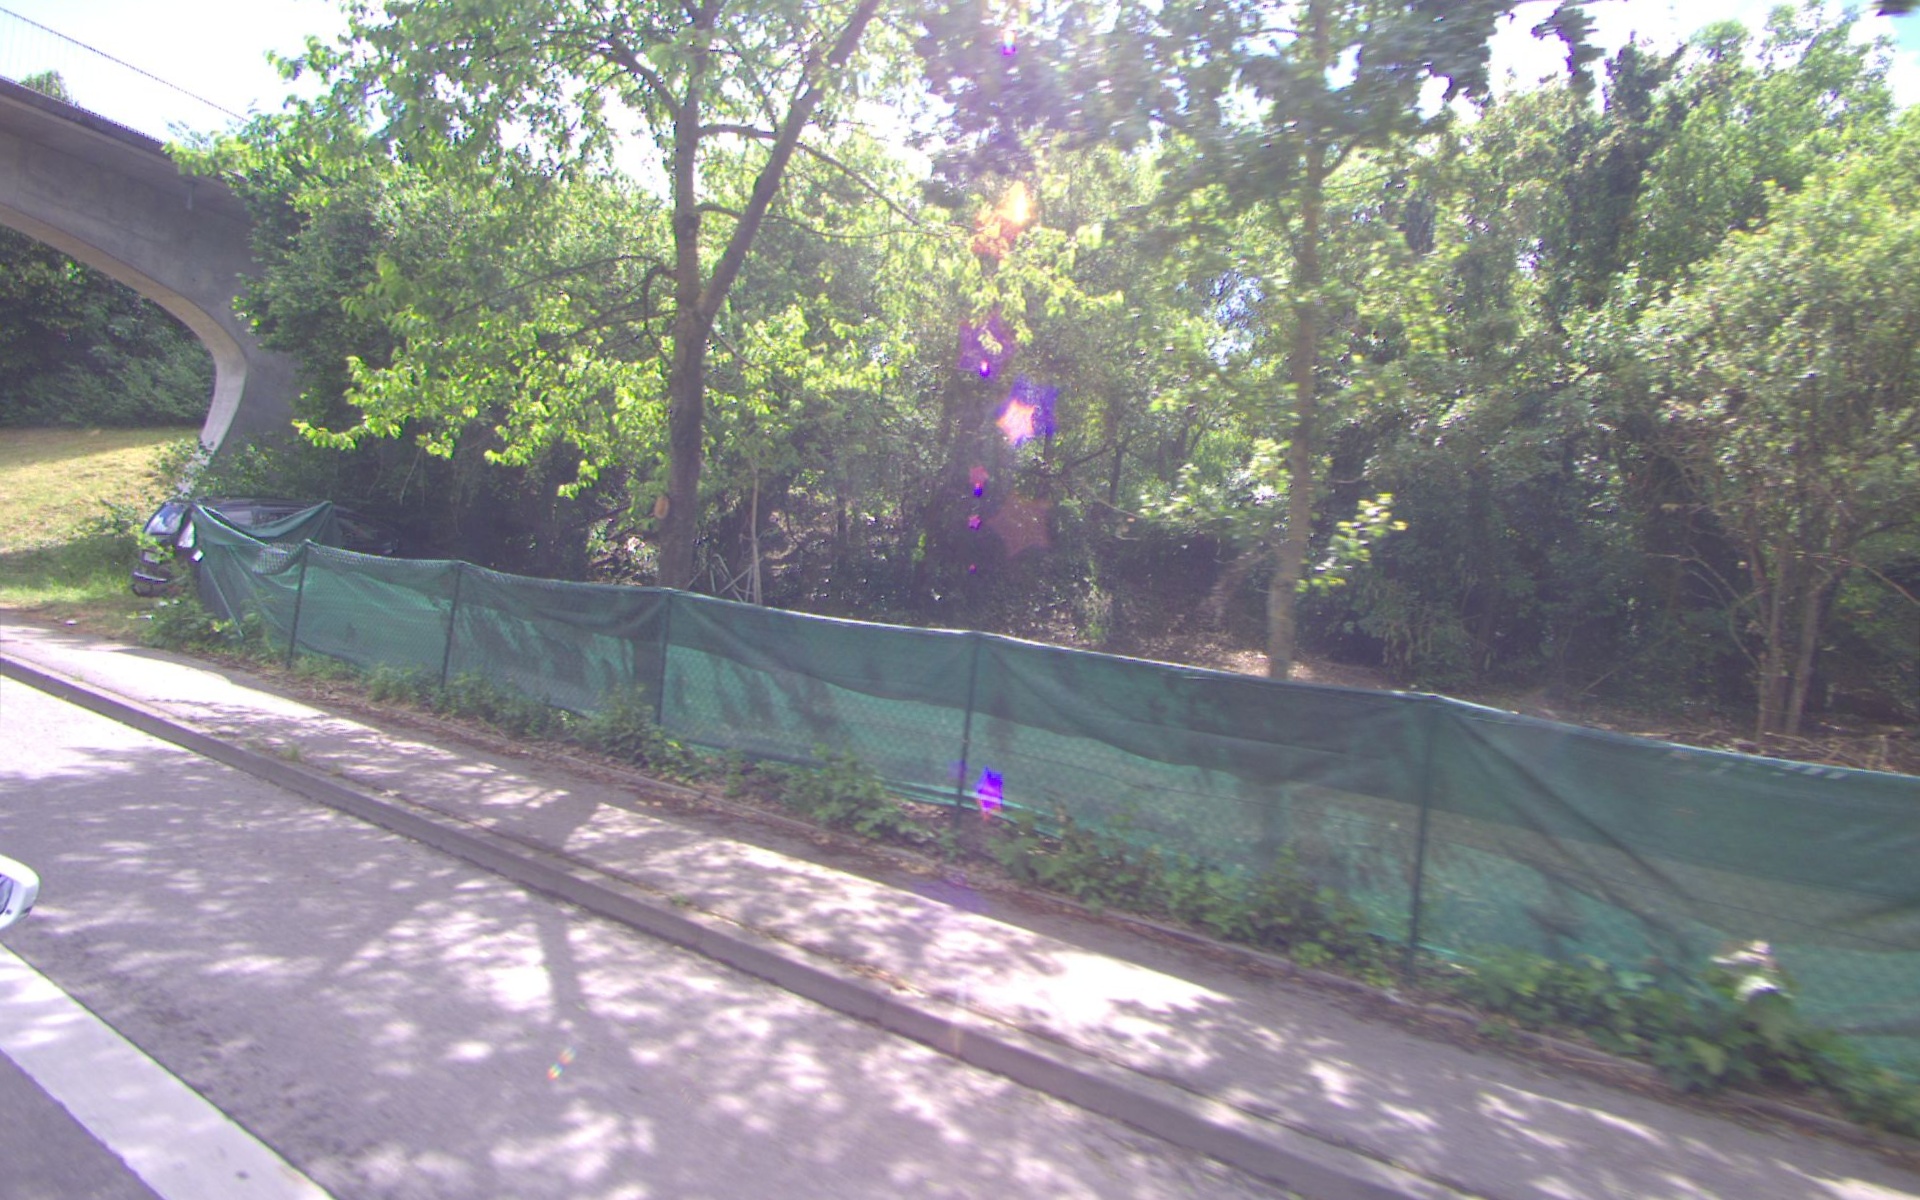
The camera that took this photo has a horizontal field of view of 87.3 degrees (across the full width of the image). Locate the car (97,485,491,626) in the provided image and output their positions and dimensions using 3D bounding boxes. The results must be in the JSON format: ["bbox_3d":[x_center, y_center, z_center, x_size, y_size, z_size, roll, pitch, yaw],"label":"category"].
[{"bbox_3d":[-9.845,-0.575,15.251,1.969,1.693,4.523,5,0,34],"label":"car"}]
